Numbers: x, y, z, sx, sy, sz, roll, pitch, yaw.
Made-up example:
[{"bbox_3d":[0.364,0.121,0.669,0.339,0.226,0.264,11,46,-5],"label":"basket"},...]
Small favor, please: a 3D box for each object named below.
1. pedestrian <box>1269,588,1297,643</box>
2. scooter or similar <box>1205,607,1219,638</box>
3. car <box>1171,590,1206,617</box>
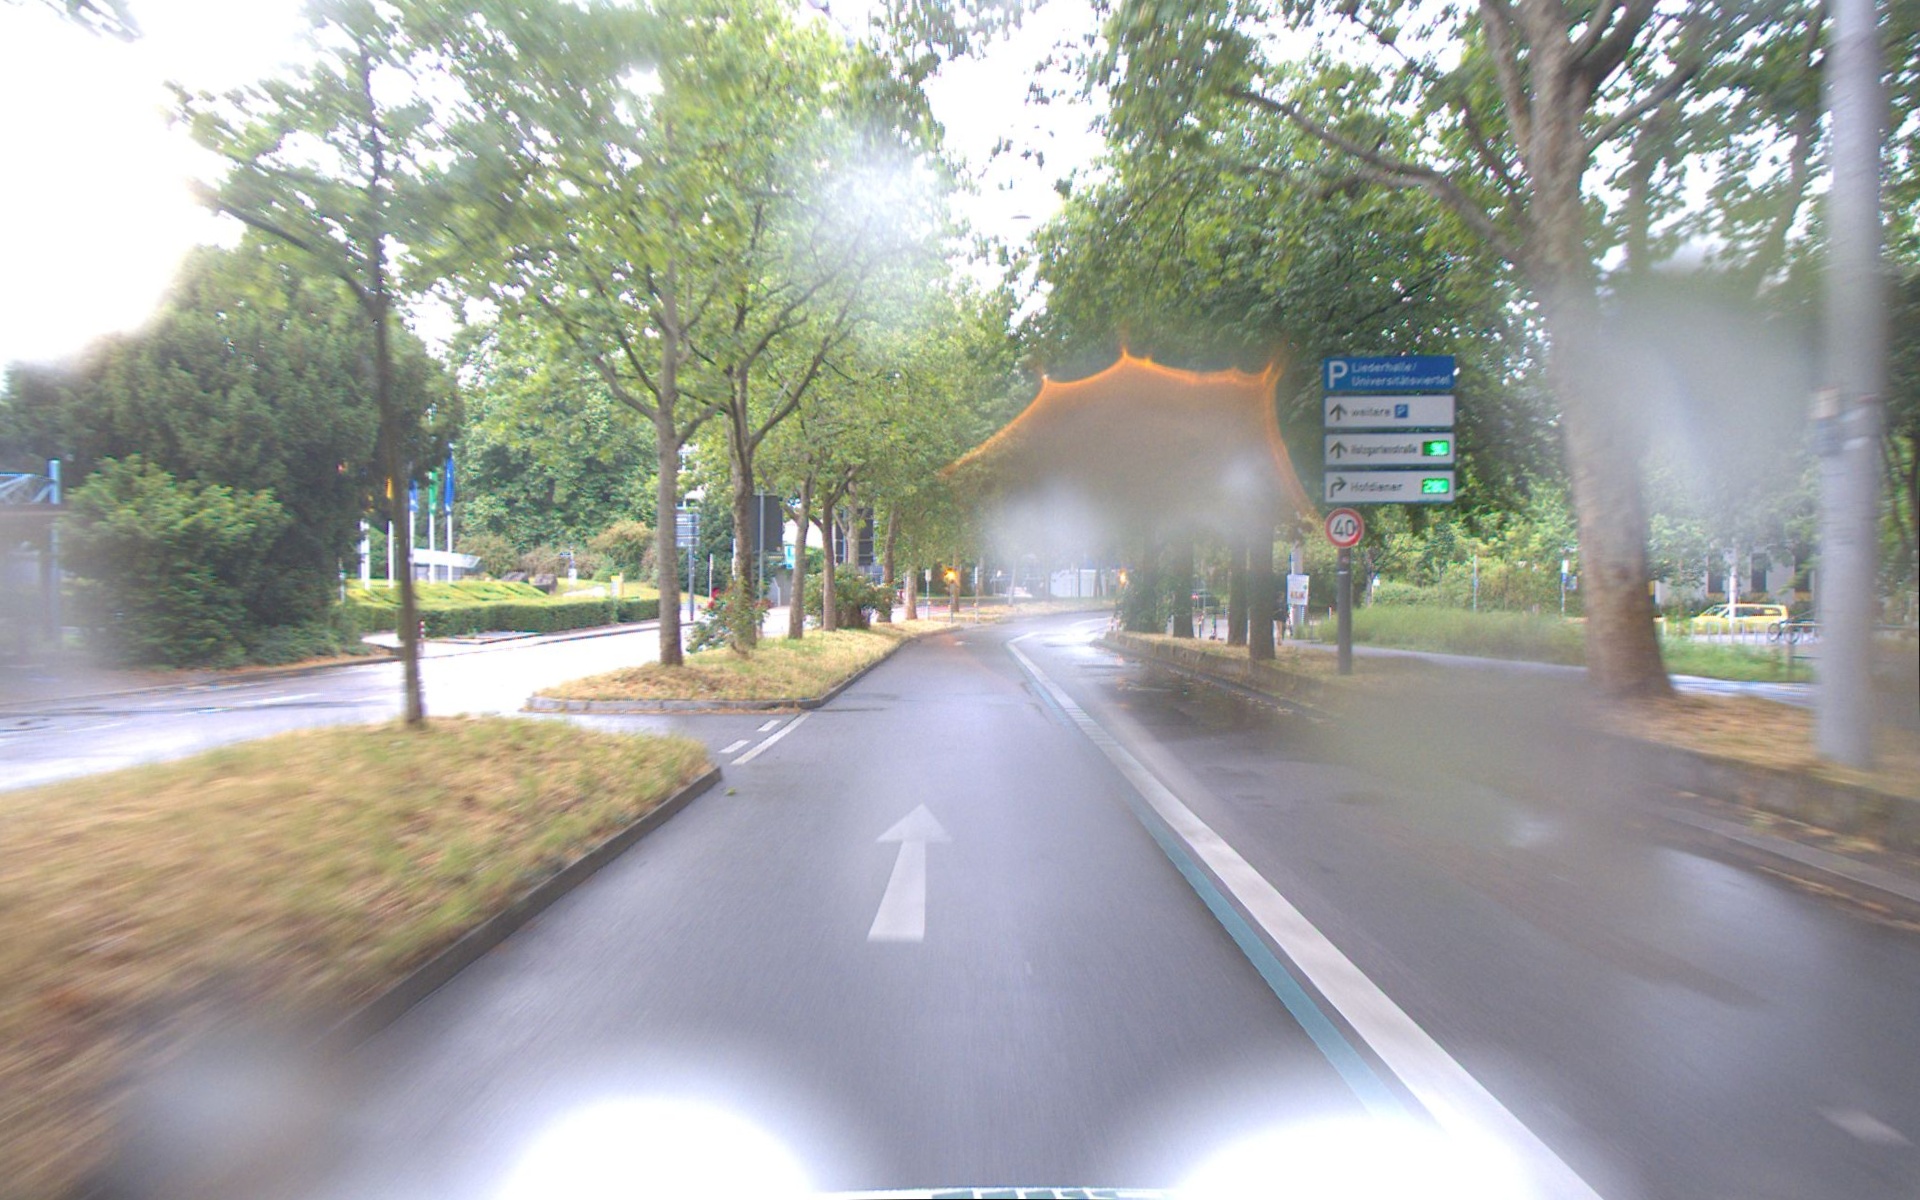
[{"bbox_3d":[9.966,0.475,51.043,0.688,1.667,0.934,0,0,-1],"label":"pedestrian"},{"bbox_3d":[8.611,0.774,56.558,0.286,1.043,1.065,0,0,-1],"label":"scooter or similar"},{"bbox_3d":[17.308,0.246,125.159,1.951,2.049,4.002,0,0,17],"label":"car"}]
